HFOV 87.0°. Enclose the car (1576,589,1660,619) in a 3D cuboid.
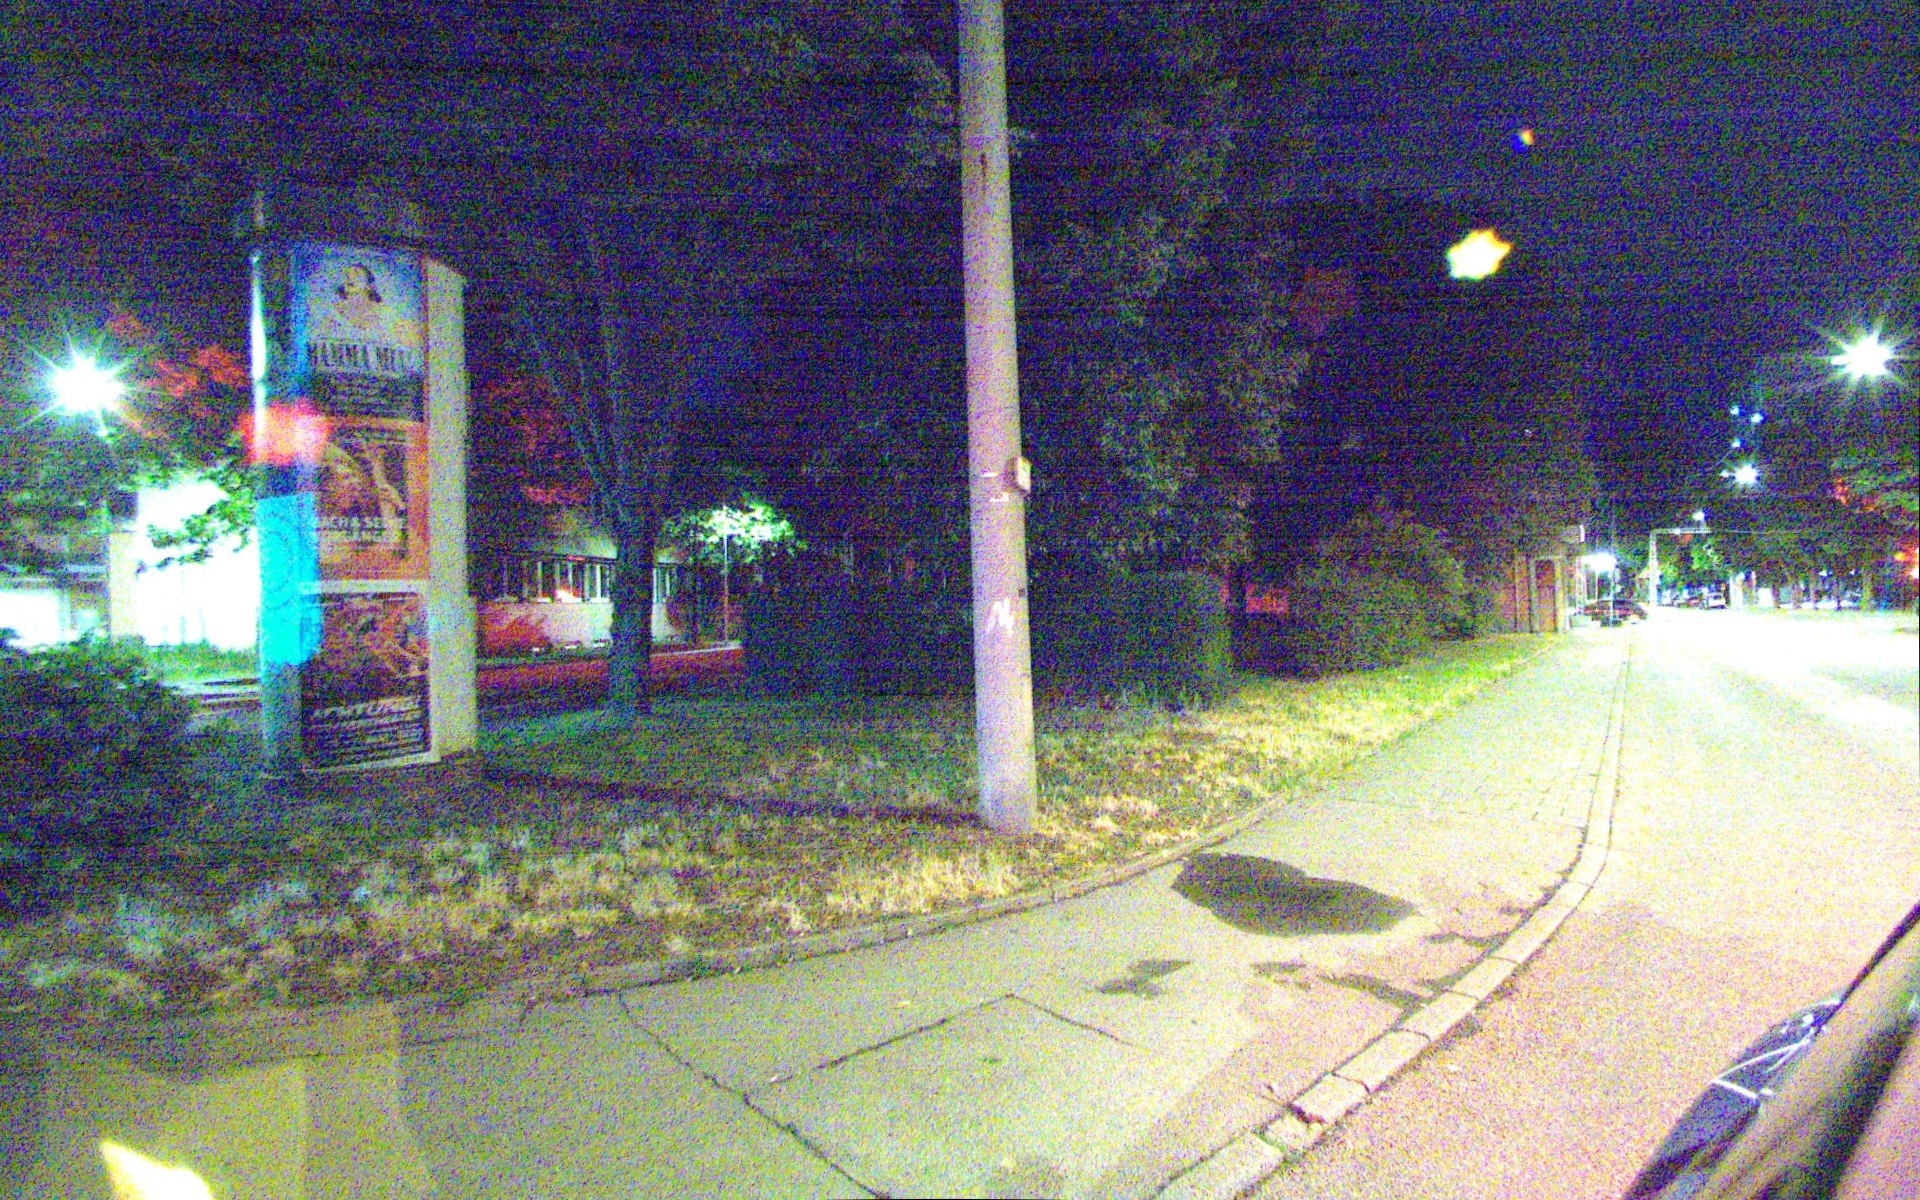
[{"bbox_3d":[37.835,0.243,58.285,3.972,1.653,1.851,-1,-1,34],"label":"car"}]
